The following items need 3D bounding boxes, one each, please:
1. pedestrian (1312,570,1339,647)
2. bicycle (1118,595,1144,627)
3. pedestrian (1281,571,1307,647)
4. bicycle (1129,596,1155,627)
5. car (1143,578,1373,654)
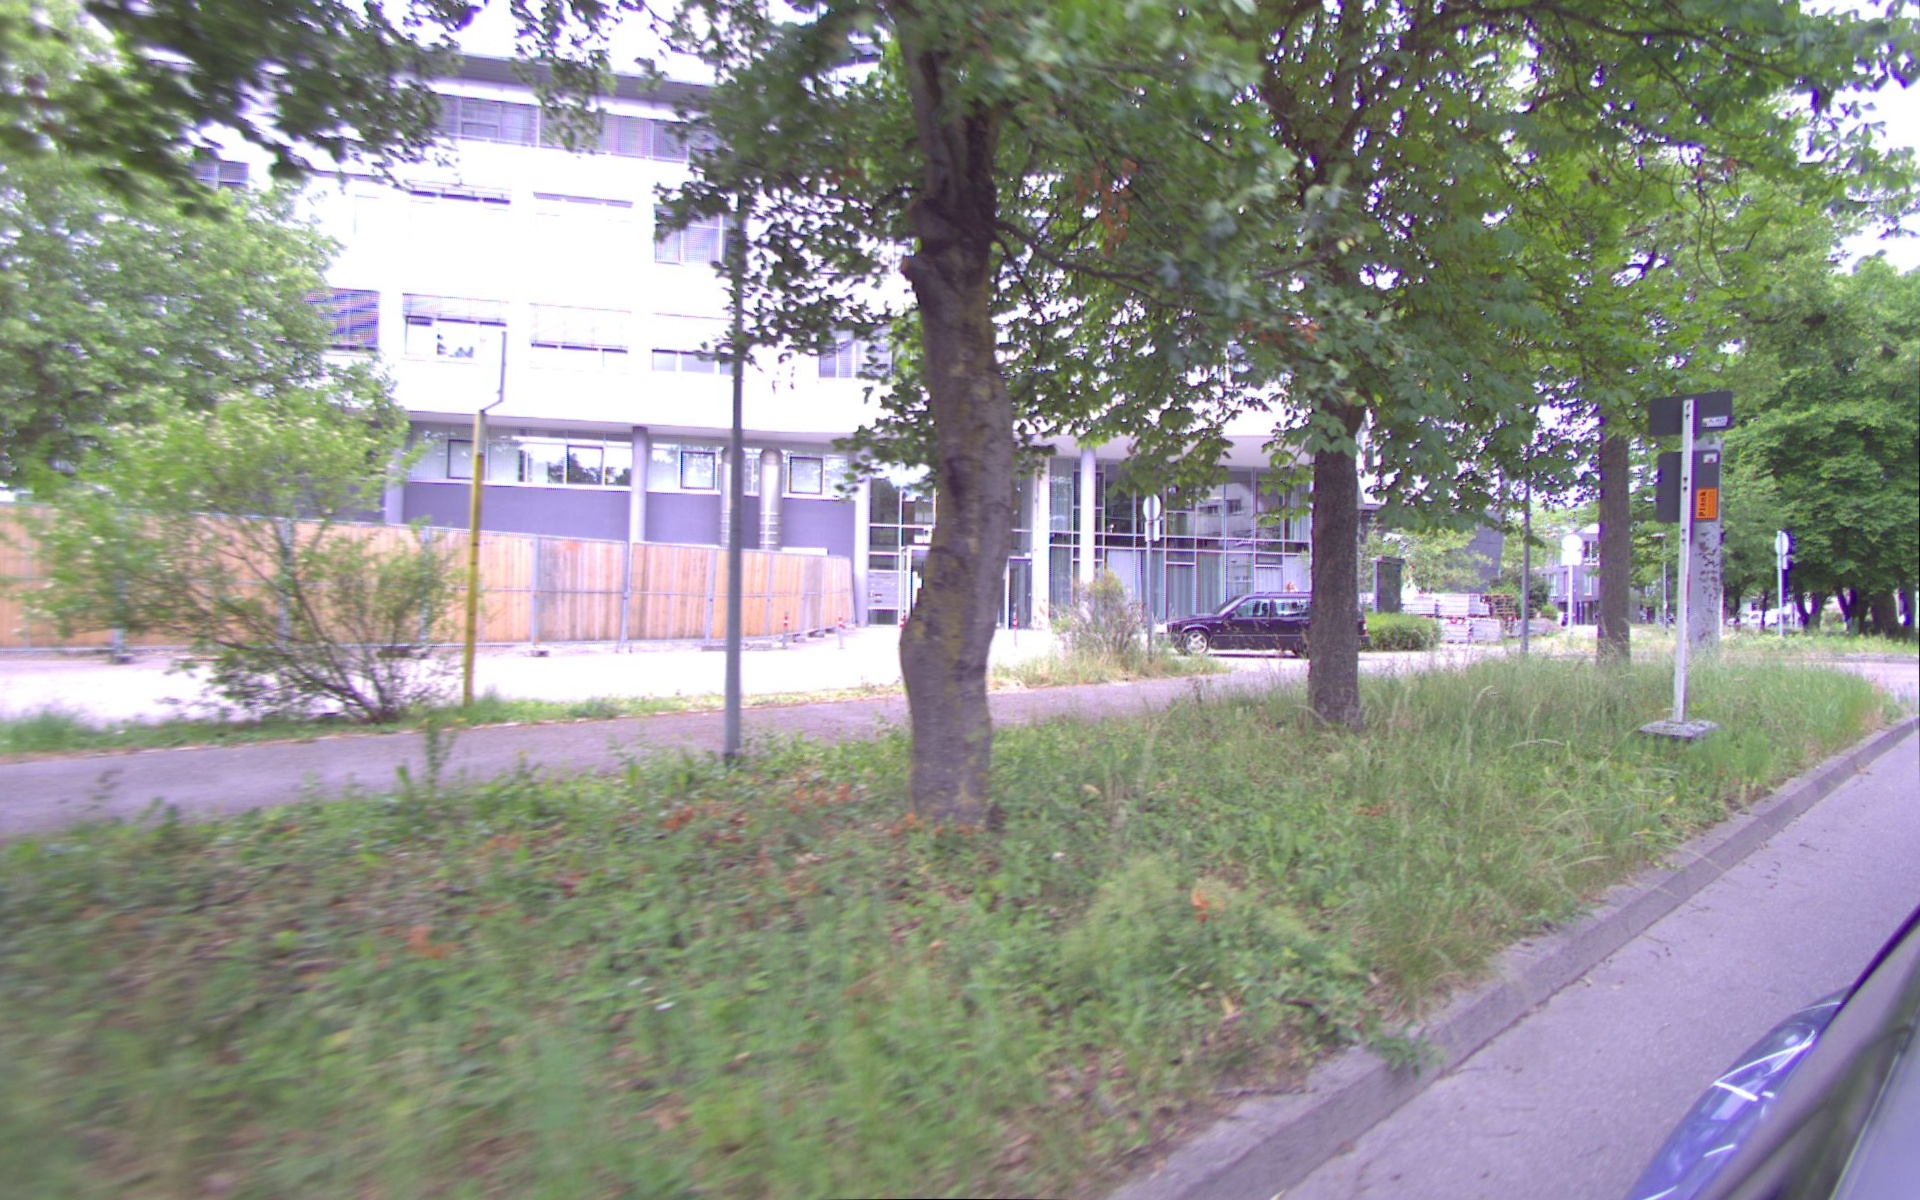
[{"bbox_3d":[8.617,0.200,23.885,0.469,1.777,0.580,4,-2,19],"label":"pedestrian"},{"bbox_3d":[6.075,0.395,35.989,0.384,1.086,1.403,0,-1,-12],"label":"bicycle"},{"bbox_3d":[7.868,0.213,23.850,0.492,1.747,0.533,4,-2,19],"label":"pedestrian"},{"bbox_3d":[6.532,0.421,36.408,0.384,1.086,1.403,0,-1,-12],"label":"bicycle"},{"bbox_3d":[6.628,0.335,22.930,4.658,1.535,1.869,1,1,5],"label":"car"}]
